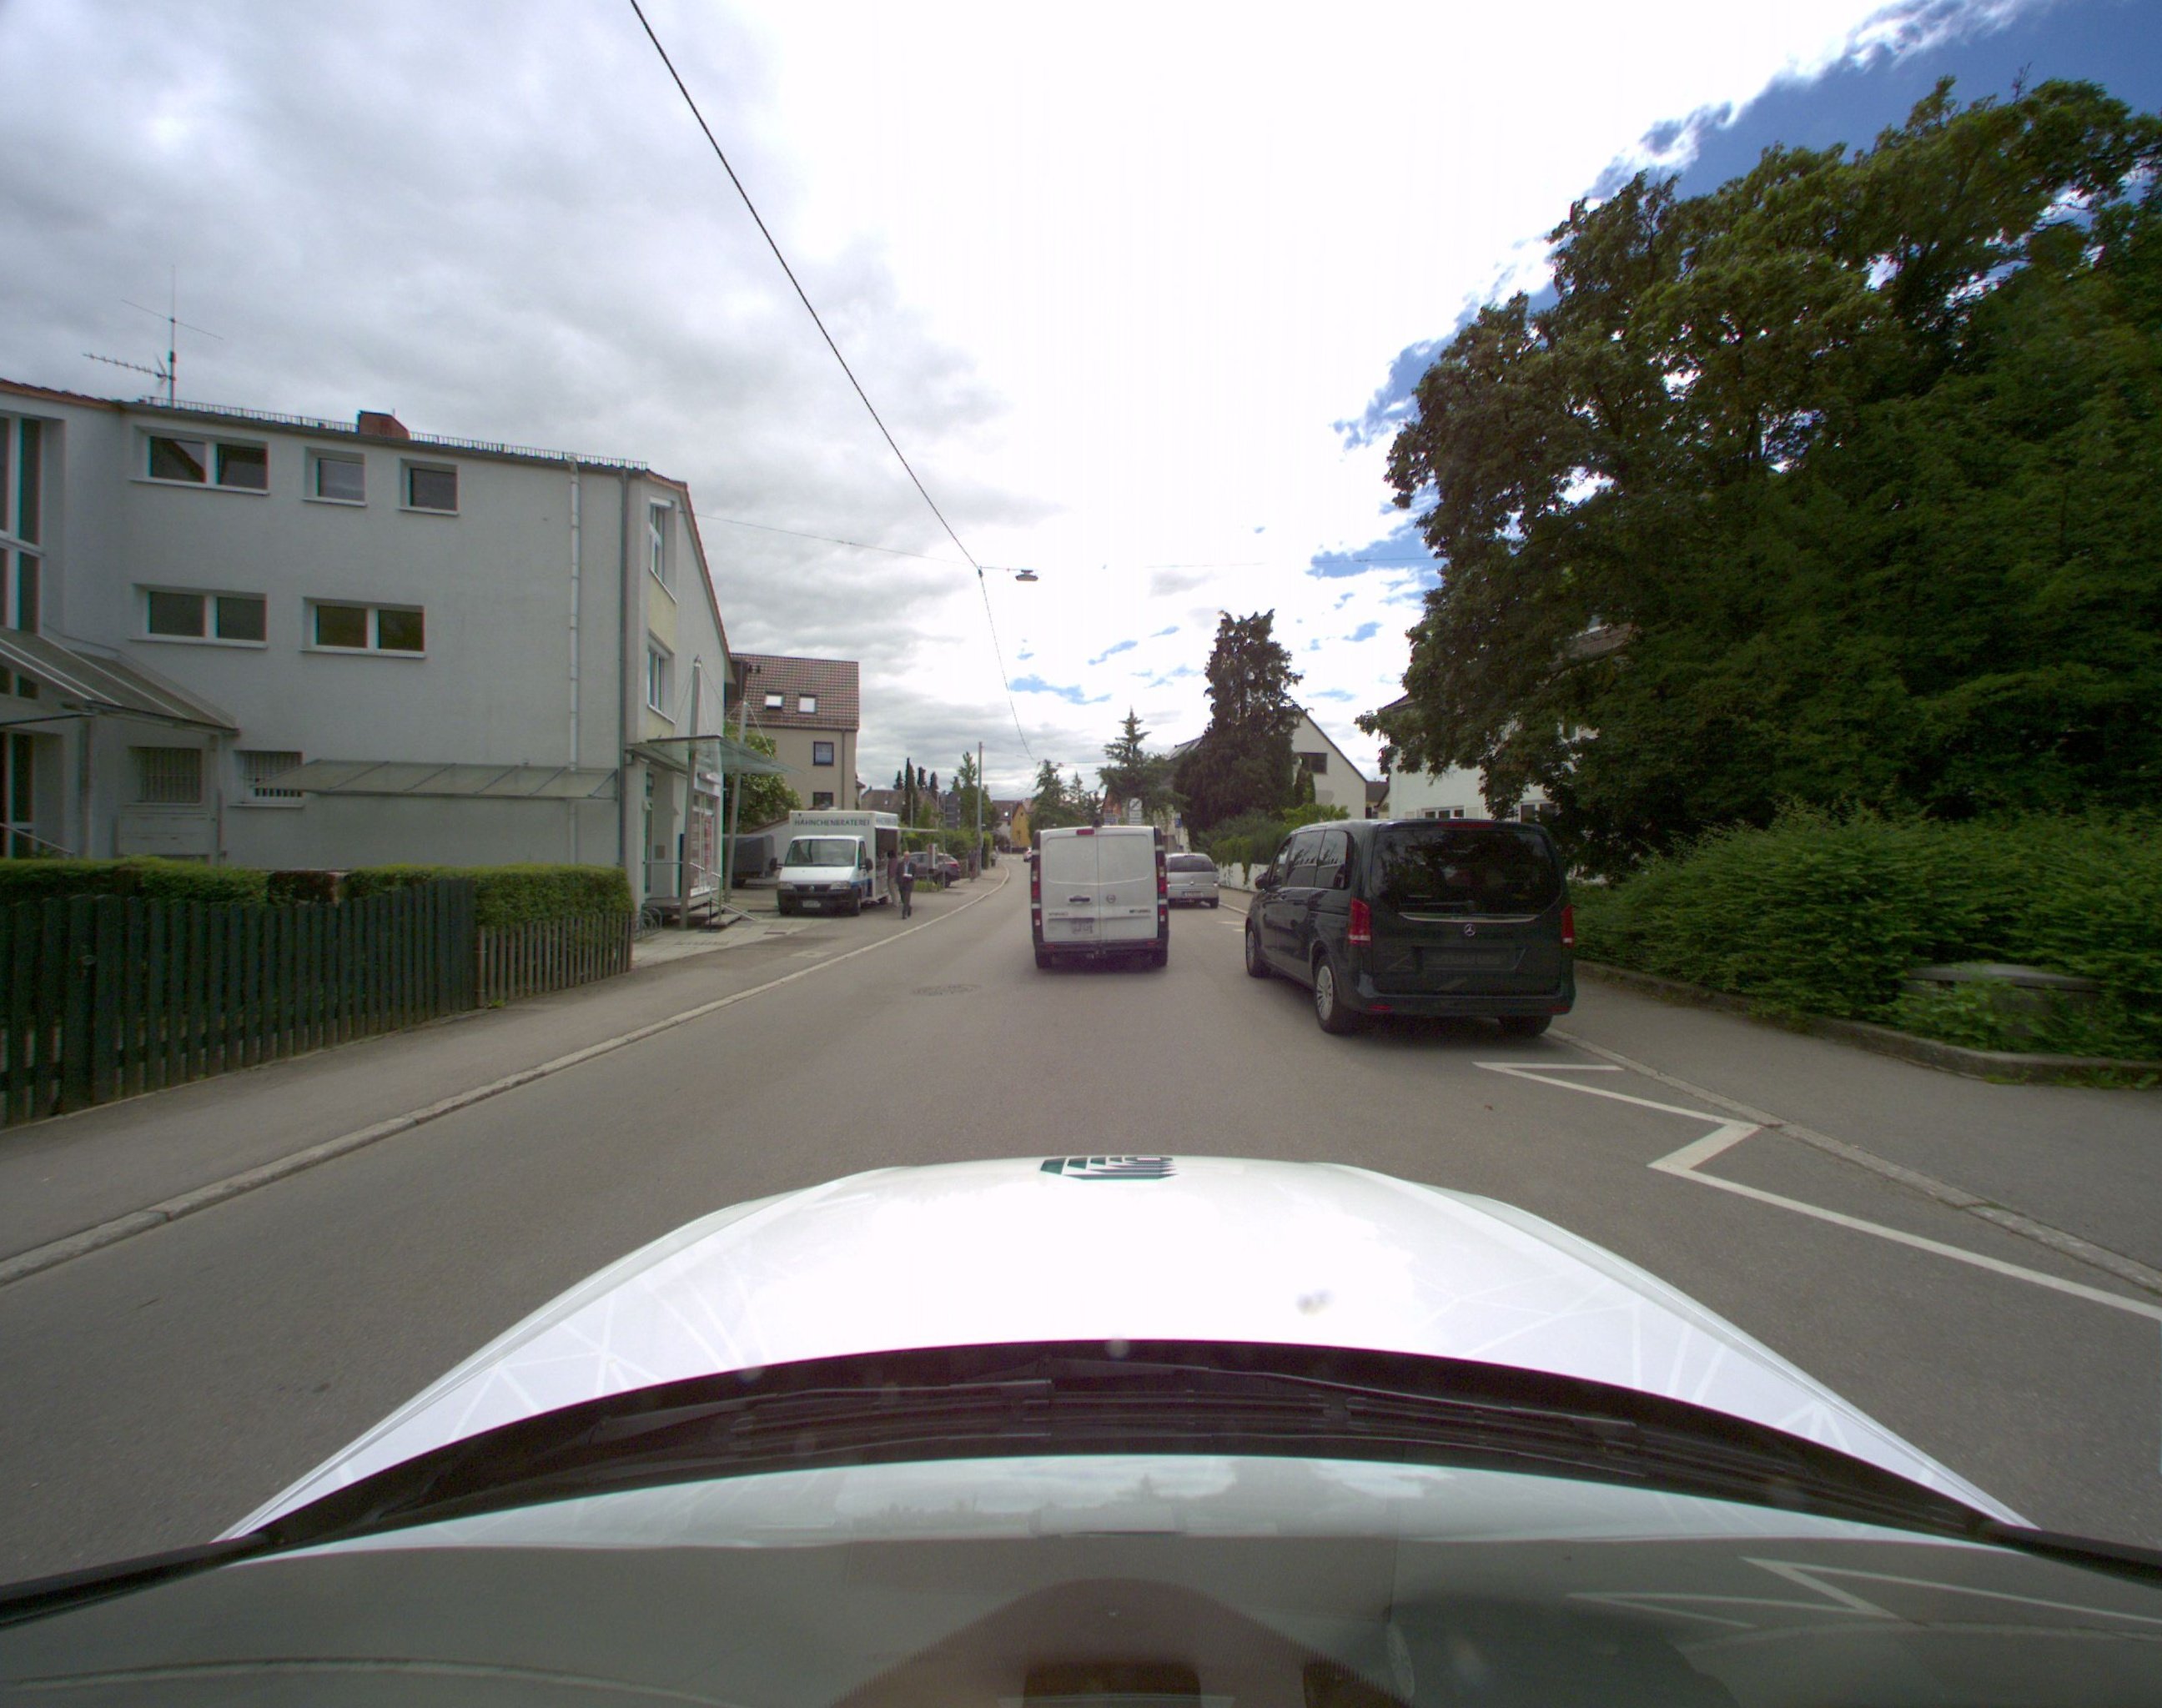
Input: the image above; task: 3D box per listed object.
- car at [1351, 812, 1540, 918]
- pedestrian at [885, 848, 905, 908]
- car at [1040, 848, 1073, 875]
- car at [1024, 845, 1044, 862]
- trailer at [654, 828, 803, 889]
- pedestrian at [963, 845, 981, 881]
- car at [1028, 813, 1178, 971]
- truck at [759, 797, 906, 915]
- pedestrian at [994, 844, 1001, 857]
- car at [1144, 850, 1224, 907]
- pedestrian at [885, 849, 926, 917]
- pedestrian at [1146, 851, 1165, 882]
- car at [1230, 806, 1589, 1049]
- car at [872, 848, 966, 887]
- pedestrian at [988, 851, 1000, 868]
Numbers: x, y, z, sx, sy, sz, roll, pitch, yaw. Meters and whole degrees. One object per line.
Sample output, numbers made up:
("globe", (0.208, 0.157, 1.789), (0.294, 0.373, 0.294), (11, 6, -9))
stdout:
("car", (10.359, 0.292, 23.762), (2.498, 2.682, 5.167), (2, 0, -11))
("pedestrian", (-5.343, 0.678, 23.360), (0.400, 1.695, 0.596), (2, -1, -4))
("car", (-1.811, 0.544, 59.232), (1.992, 1.848, 3.990), (-1, 0, -7))
("car", (-5.212, -0.101, 89.796), (1.992, 1.782, 3.990), (-1, 0, -7))
("trailer", (-13.386, 0.159, 31.179), (4.855, 2.080, 1.701), (2, 1, -6))
("pedestrian", (-5.999, 0.502, 44.807), (0.730, 1.946, 1.218), (2, -1, 1))
("car", (0.224, 0.498, 12.693), (1.911, 2.002, 4.434), (-1, 0, -2))
("truck", (-6.701, 0.062, 22.964), (2.468, 2.840, 6.698), (0, 0, -4))
("pedestrian", (-10.623, -0.432, 103.669), (0.805, 1.609, 0.625), (2, -1, -12))
("car", (3.071, 0.696, 25.025), (1.755, 1.582, 4.015), (-1, 0, -2))
("pedestrian", (-4.507, 0.740, 21.013), (0.720, 1.687, 1.109), (2, -1, 1))
("pedestrian", (3.978, 0.661, 43.381), (0.852, 1.645, 0.883), (2, -1, -1))
("car", (2.992, 0.573, 8.819), (1.902, 1.848, 5.159), (1, 0, 1))
("car", (-7.857, 0.658, 39.418), (4.317, 1.695, 1.789), (2, 0, -14))
("pedestrian", (-7.756, 0.524, 72.563), (0.881, 1.485, 0.451), (2, -1, -27))
